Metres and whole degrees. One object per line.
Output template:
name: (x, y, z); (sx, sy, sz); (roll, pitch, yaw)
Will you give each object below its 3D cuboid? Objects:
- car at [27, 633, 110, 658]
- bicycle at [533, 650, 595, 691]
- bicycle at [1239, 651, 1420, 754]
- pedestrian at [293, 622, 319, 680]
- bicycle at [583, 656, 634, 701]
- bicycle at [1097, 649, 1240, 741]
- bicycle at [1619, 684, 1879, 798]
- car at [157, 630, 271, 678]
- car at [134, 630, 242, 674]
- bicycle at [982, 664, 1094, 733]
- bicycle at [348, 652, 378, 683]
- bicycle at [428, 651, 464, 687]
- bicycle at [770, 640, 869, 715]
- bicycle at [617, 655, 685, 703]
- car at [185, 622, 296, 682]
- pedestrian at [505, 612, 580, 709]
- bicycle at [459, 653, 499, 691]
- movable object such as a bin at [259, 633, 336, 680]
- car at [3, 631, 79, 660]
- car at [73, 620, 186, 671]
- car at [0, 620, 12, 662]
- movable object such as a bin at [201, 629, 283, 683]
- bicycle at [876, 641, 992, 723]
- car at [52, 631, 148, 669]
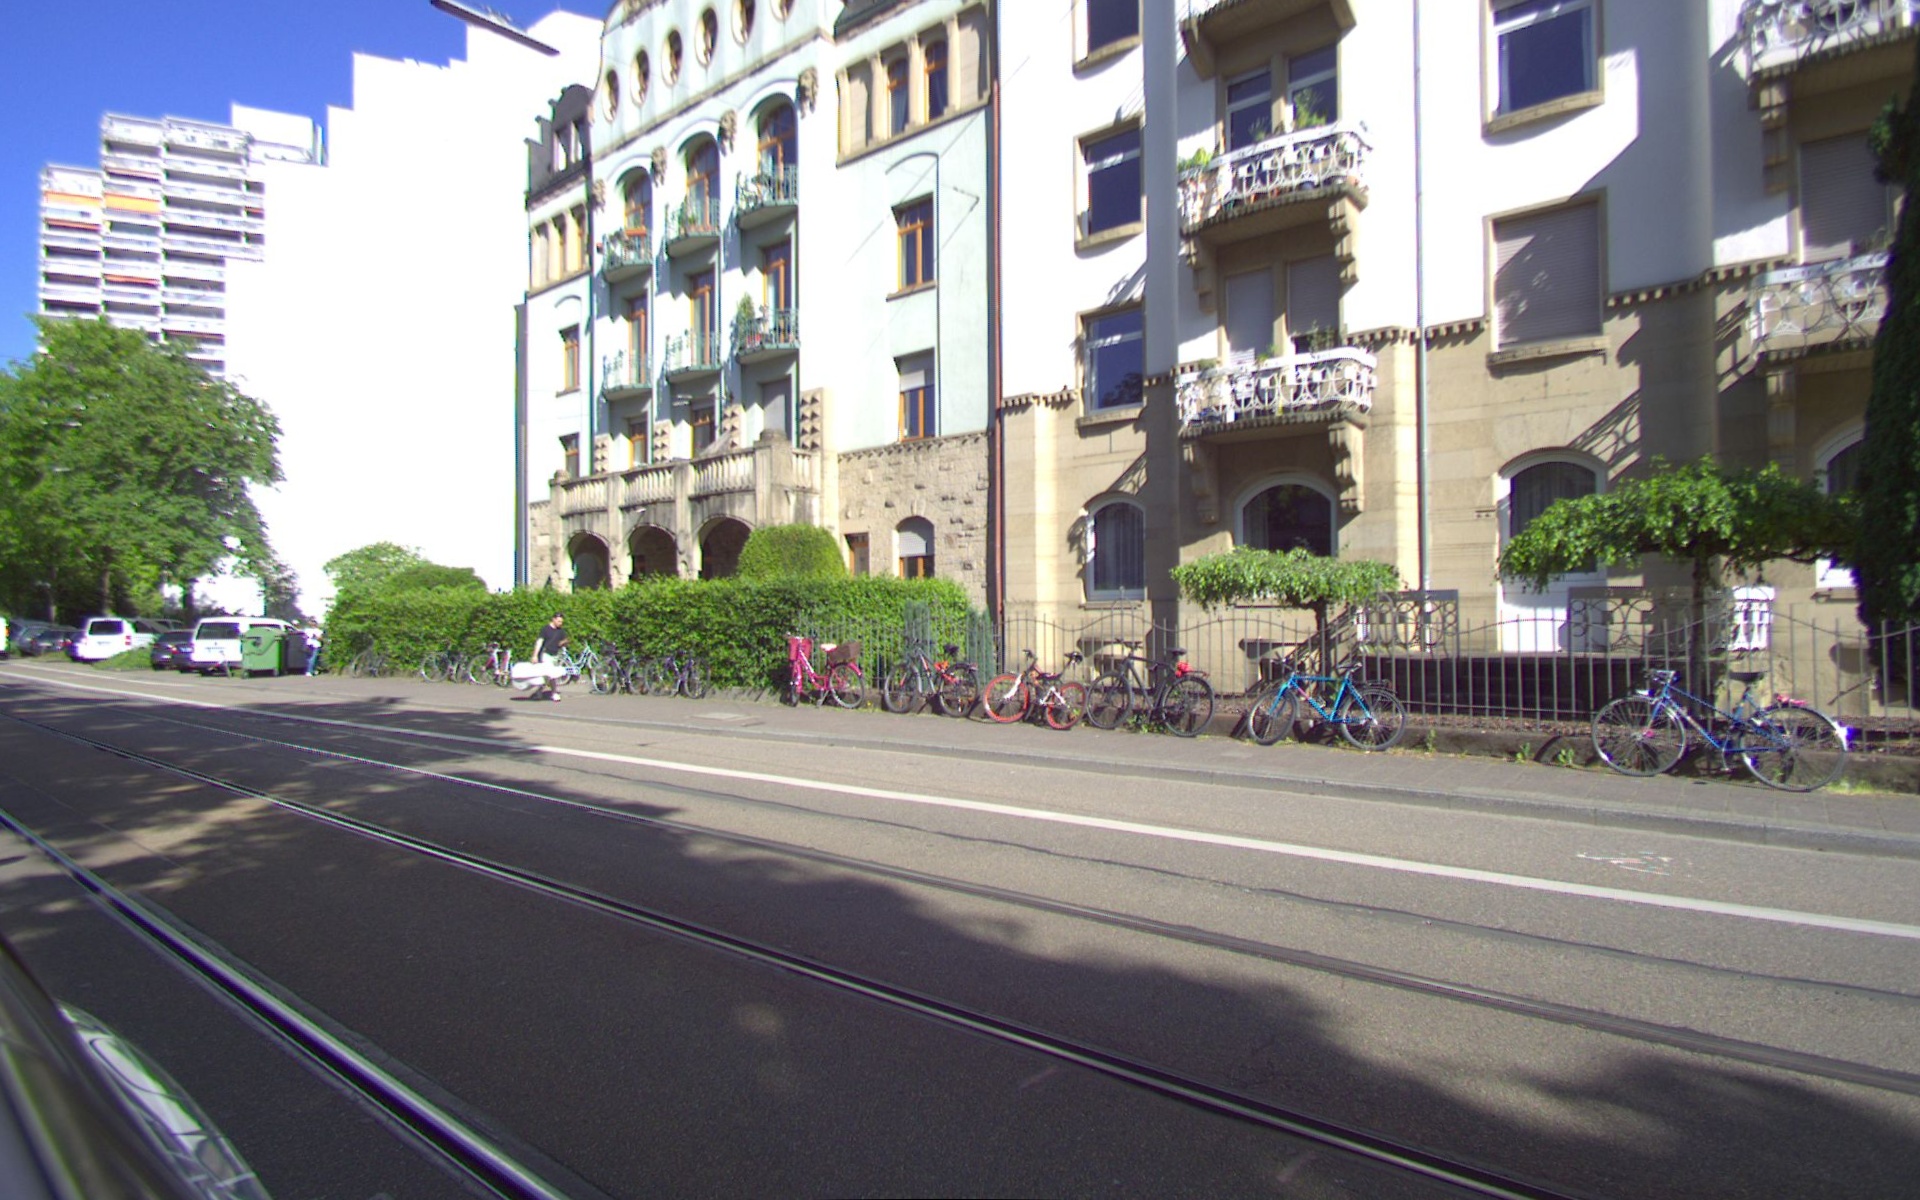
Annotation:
car: (-42.926, 2.176, 48.770); (1.220, 1.097, 2.734); (-1, 0, 24)
bicycle: (-8.573, 1.518, 21.944); (0.297, 0.799, 1.246); (-1, 0, 41)
bicycle: (3.831, 1.037, 10.605); (1.748, 0.949, 0.400); (-1, 0, 41)
pedestrian: (-18.897, 1.468, 29.241); (0.659, 1.641, 0.469); (-1, 0, 41)
bicycle: (-6.689, 1.482, 19.256); (1.263, 0.767, 0.335); (-1, 0, 41)
bicycle: (2.400, 1.078, 11.783); (1.648, 0.949, 0.400); (-1, 0, 41)
bicycle: (6.413, 1.118, 8.307); (1.651, 0.767, 0.314); (-1, 0, 41)
car: (-25.131, 1.796, 34.163); (1.451, 1.446, 2.734); (-1, 0, 24)
car: (-27.688, 1.829, 36.352); (1.451, 1.446, 2.734); (-1, 0, 24)
bicycle: (0.970, 1.225, 12.859); (1.542, 0.767, 0.314); (-1, 0, 41)
bicycle: (-15.643, 1.758, 26.495); (1.263, 0.767, 0.293); (-1, 0, 41)
bicycle: (-11.954, 1.598, 23.507); (1.263, 0.767, 0.293); (-1, 0, 41)
bicycle: (-2.161, 1.154, 15.441); (1.815, 1.031, 0.400); (-1, 0, 41)
bicycle: (-5.580, 1.407, 18.242); (1.581, 0.767, 0.400); (-1, 0, 41)
car: (-22.834, 1.651, 32.231); (1.438, 1.787, 3.189); (-1, -3, -5)
pedestrian: (-7.628, 1.075, 18.486); (0.870, 1.640, 0.858); (-1, 4, 41)
bicycle: (-10.609, 1.581, 22.324); (1.263, 0.767, 0.314); (-1, 0, 41)
movable object such as a bin: (-20.461, 1.716, 31.262); (2.095, 1.326, 1.482); (-1, 0, 41)
car: (-48.450, 2.375, 53.377); (1.220, 1.436, 2.734); (-1, 0, 24)
car: (-33.298, 1.792, 40.695); (1.894, 1.885, 3.447); (-1, 0, -4)
car: (-46.641, 1.971, 48.140); (1.968, 1.918, 4.008); (-1, 0, -39)
movable object such as a bin: (-20.813, 1.588, 29.339); (2.095, 1.443, 1.493); (-1, 0, 41)
bicycle: (-0.390, 1.112, 14.033); (1.815, 1.031, 0.400); (-1, 0, 41)
car: (-36.169, 2.081, 42.592); (1.451, 1.446, 2.734); (-1, 0, 24)
